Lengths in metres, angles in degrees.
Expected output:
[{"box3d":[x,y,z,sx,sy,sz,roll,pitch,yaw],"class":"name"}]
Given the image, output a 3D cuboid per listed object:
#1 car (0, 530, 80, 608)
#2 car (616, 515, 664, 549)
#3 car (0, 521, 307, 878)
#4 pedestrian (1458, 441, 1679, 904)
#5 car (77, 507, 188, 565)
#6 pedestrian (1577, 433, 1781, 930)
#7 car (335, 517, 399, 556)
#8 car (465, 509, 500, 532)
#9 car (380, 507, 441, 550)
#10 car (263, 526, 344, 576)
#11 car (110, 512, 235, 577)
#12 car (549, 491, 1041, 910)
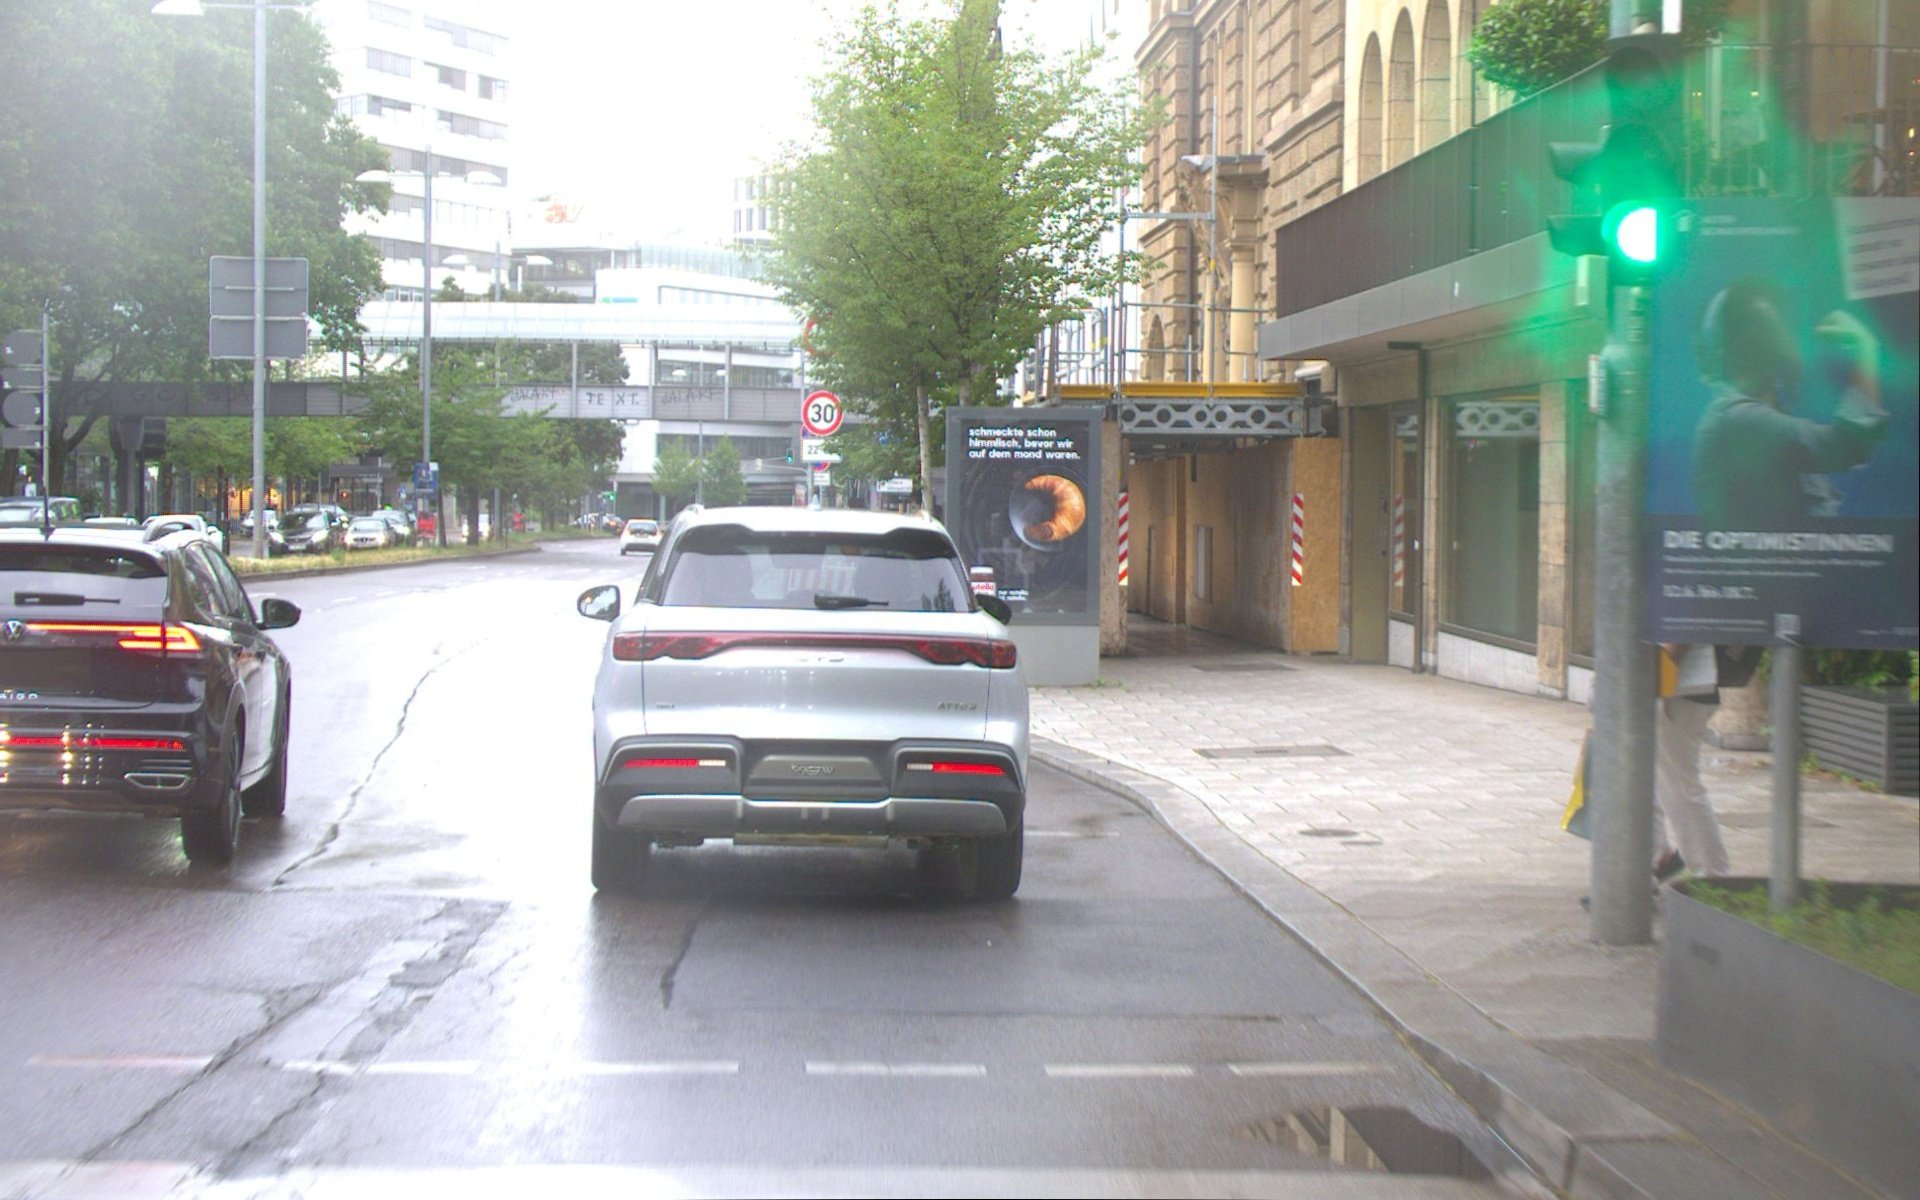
[{"box3d":[-17.498,-0.585,62.643,1.747,1.360,3.943,1,1,3],"class":"car"},{"box3d":[-13.383,-2.848,143.945,1.653,1.337,4.000,2,1,-1],"class":"car"},{"box3d":[-4.152,0.375,16.045,1.773,1.452,4.001,1,1,-5],"class":"car"},{"box3d":[2.471,0.282,13.984,0.589,1.828,0.629,1,1,-29],"class":"pedestrian"},{"box3d":[-21.236,-1.637,88.348,1.727,1.427,4.395,1,1,1],"class":"car"},{"box3d":[2.708,0.299,12.995,0.632,1.828,0.563,1,1,2],"class":"pedestrian"},{"box3d":[-21.113,-2.258,122.527,1.596,1.355,4.117,1,1,-1],"class":"car"},{"box3d":[-29.396,-4.882,211.622,1.596,1.355,4.117,1,1,-1],"class":"car"},{"box3d":[-22.038,-2.867,138.026,1.874,1.674,4.681,1,1,-3],"class":"car"},{"box3d":[-19.706,-1.473,103.341,1.700,1.432,4.583,1,1,-2],"class":"car"},{"box3d":[-18.210,-1.284,79.652,1.860,1.437,4.313,1,1,1],"class":"car"},{"box3d":[-0.758,0.371,15.463,1.901,1.616,4.001,1,1,-3],"class":"car"}]
